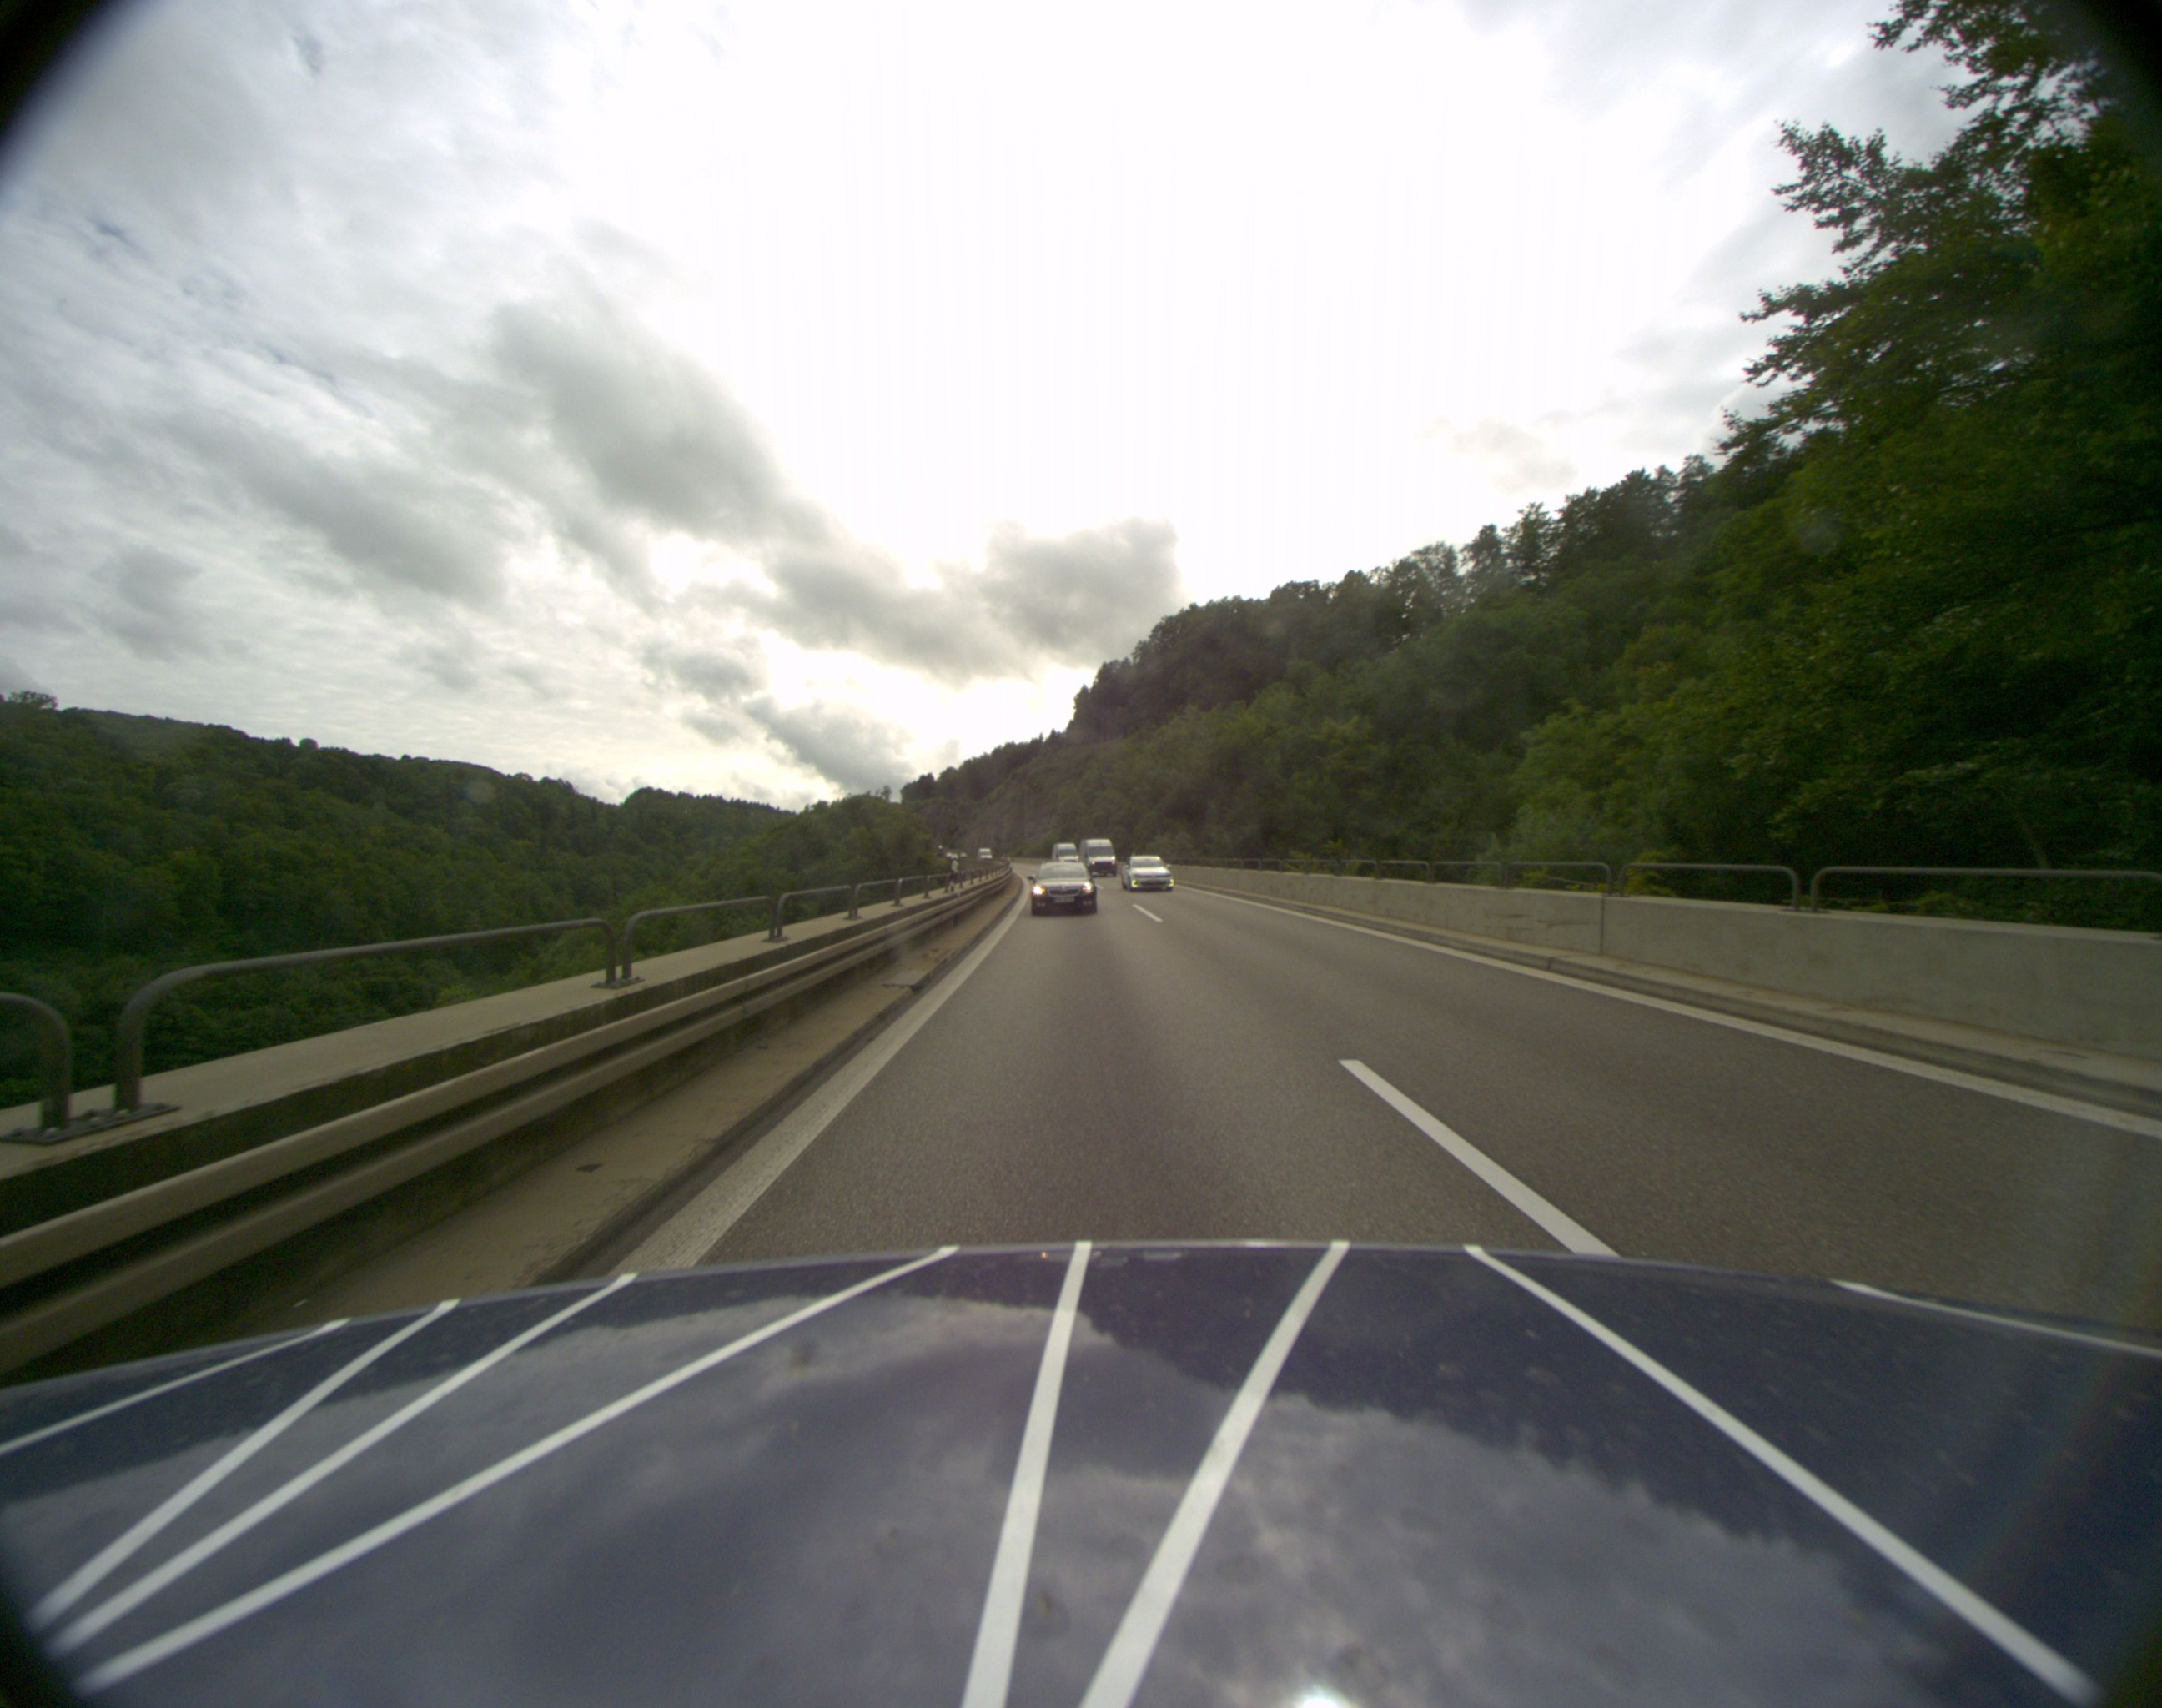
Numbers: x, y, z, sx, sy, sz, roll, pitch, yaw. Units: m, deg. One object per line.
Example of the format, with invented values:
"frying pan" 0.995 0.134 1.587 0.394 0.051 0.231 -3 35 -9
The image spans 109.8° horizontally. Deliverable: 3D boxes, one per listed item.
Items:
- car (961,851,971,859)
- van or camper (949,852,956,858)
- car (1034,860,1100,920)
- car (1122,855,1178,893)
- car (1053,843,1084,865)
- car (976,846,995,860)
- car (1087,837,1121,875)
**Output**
"car" -31.536 0.210 208.685 2.001 2.002 3.994 -2 0 -17
"van or camper" -42.812 0.209 253.378 2.000 2.002 3.996 -2 0 -12
"car" -0.406 0.942 21.807 1.677 1.419 4.471 -2 0 -1
"car" 2.880 0.807 32.678 1.923 1.452 4.230 -2 1 -1
"car" -1.331 -0.019 75.081 2.232 2.061 5.620 -2 1 -9
"car" -16.643 -0.146 132.077 2.677 2.409 6.114 -2 1 -12
"car" 1.555 0.089 53.694 1.869 2.444 4.979 -2 2 -4
